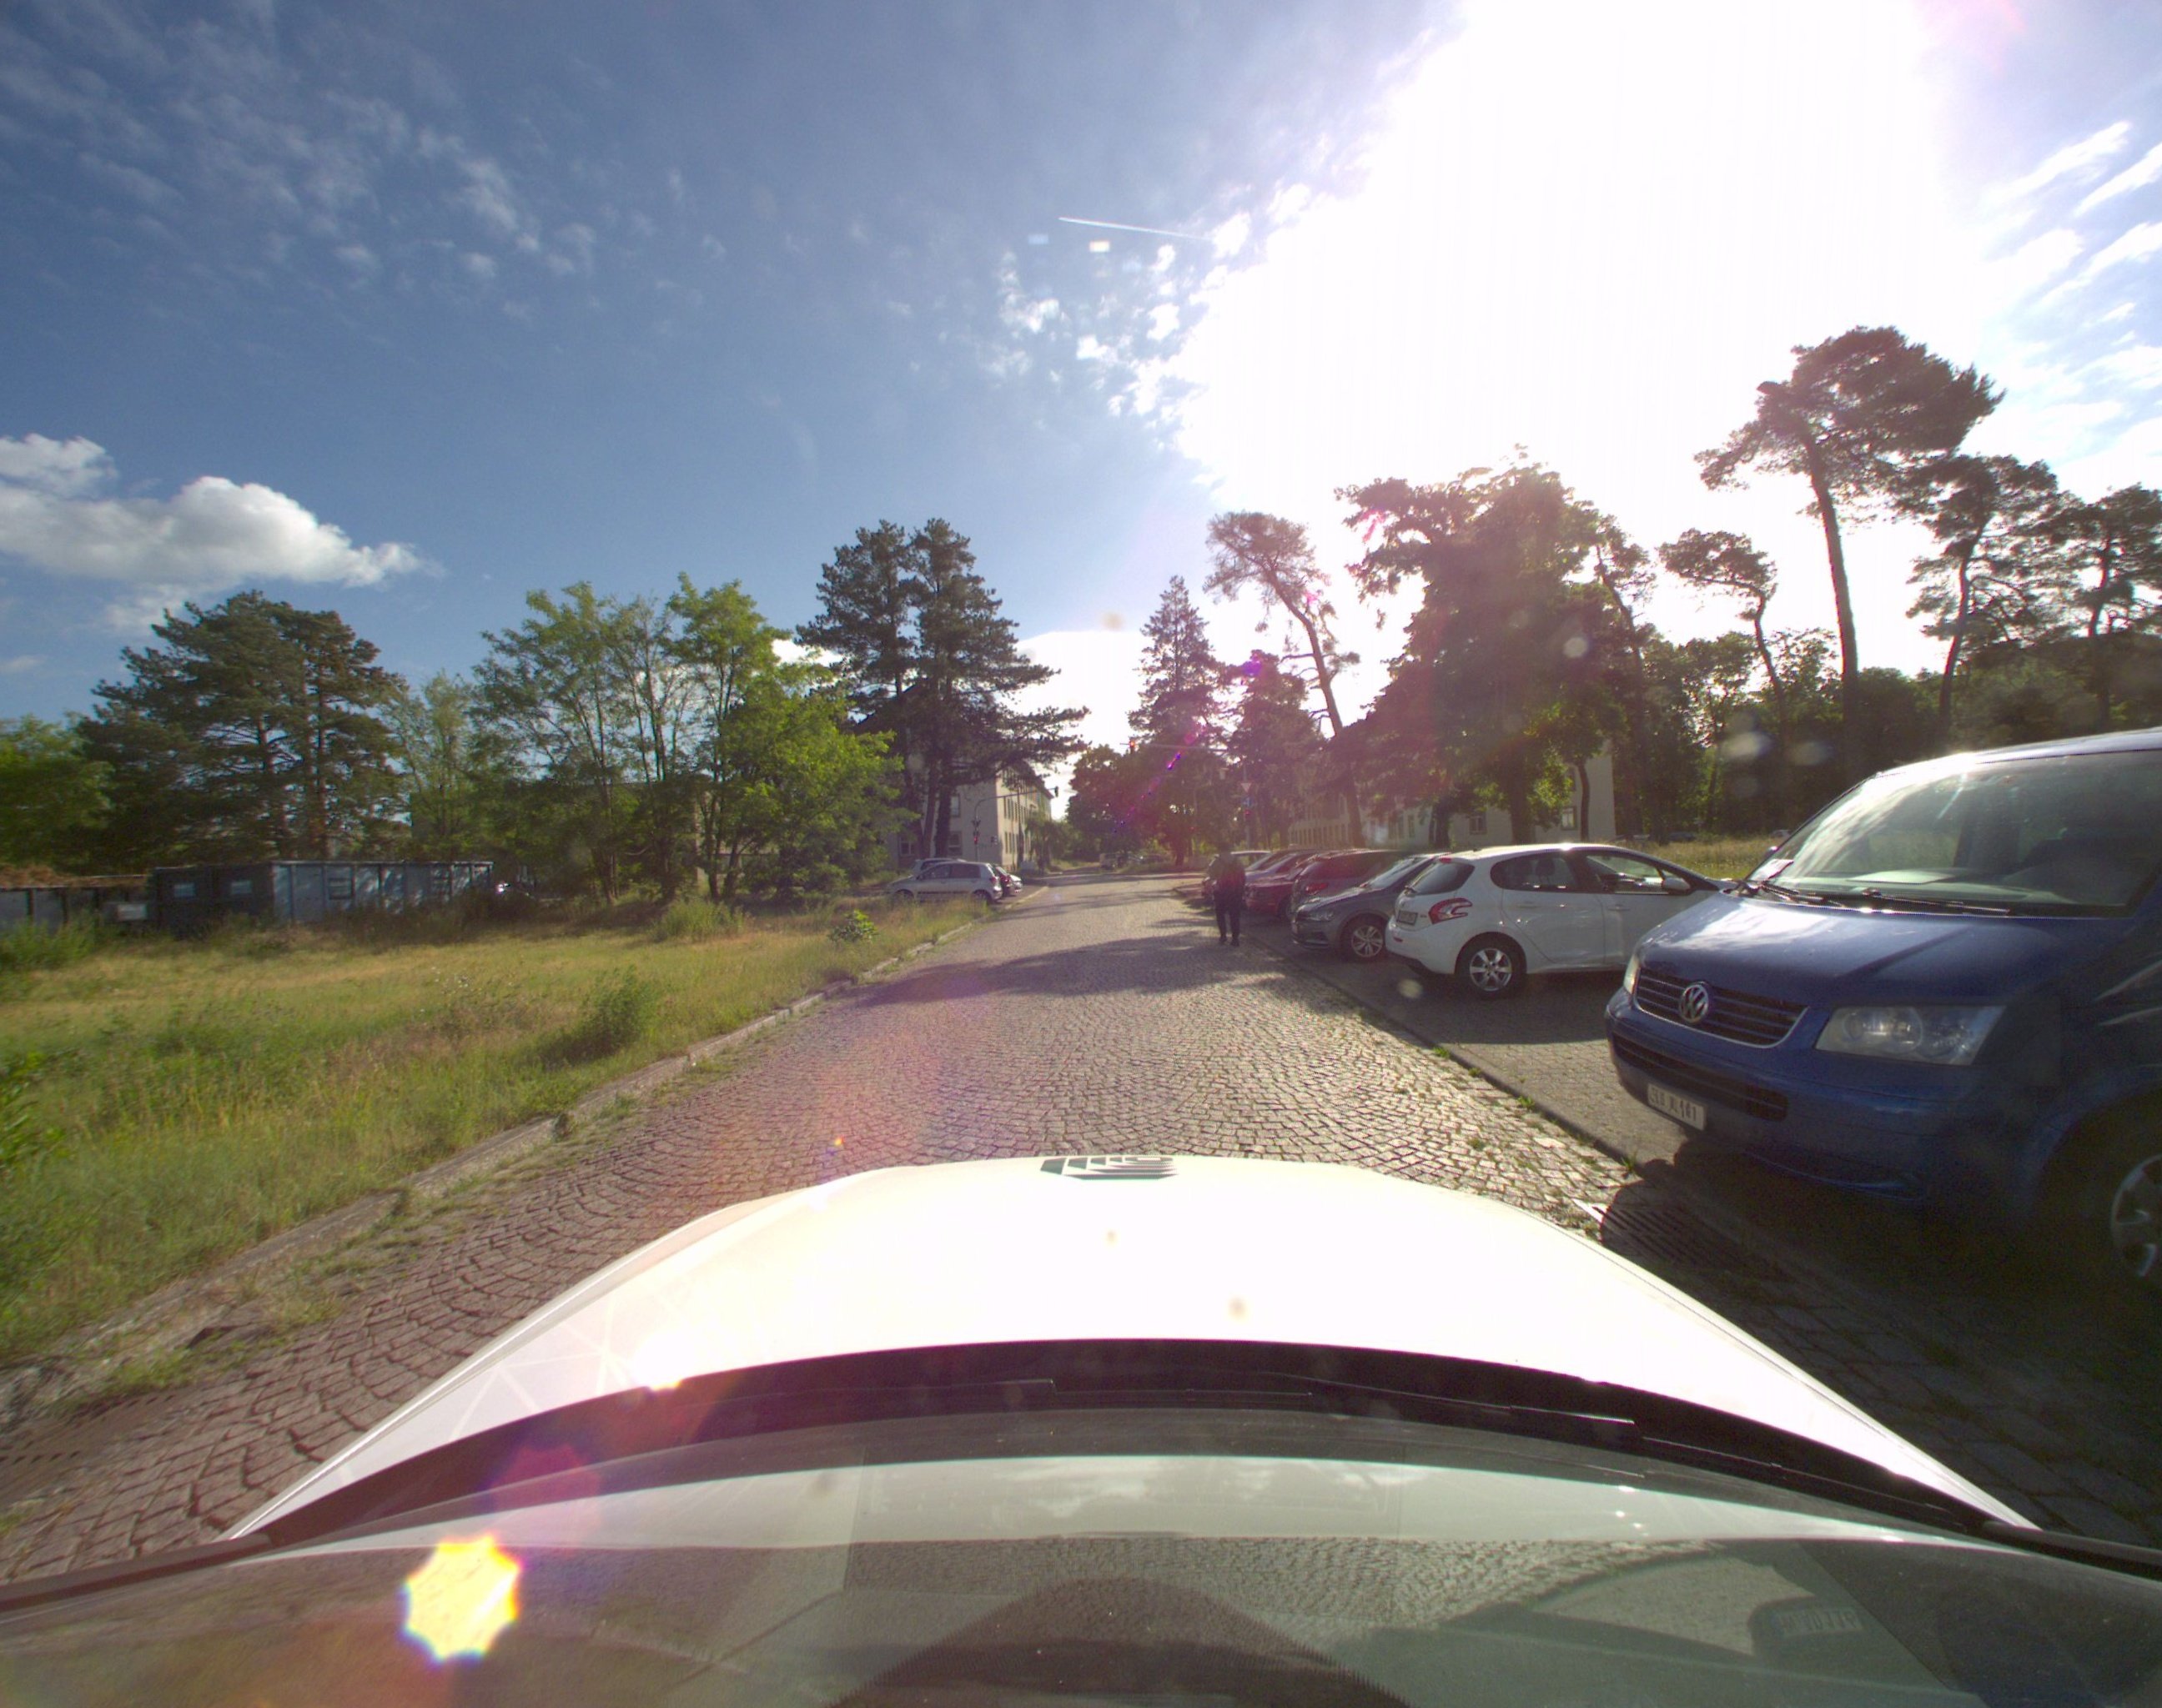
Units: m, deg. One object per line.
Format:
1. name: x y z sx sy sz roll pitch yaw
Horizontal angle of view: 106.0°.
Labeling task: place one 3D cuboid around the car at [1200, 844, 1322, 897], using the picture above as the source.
1. car: 5.921 0.531 27.146 3.659 1.443 1.666 -4 0 2

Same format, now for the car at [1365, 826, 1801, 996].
1. car: 5.168 0.565 8.764 3.630 1.492 1.635 -3 0 2

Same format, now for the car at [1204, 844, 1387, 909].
1. car: 5.645 0.572 21.816 4.384 1.388 1.789 -4 0 0

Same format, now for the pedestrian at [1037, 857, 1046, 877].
1. pedestrian: -3.427 1.121 70.794 0.604 1.752 0.630 -2 0 1

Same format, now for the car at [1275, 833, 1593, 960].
1. car: 4.883 0.568 11.707 3.765 1.450 1.759 -4 0 3

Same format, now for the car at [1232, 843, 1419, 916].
1. car: 5.771 0.594 19.545 3.965 1.448 1.656 -3 0 1

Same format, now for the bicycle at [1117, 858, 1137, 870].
1. bicycle: 4.295 0.925 76.175 1.829 1.112 0.495 -3 0 -2

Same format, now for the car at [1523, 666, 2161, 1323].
1. car: 4.883 0.305 3.525 4.736 2.013 2.001 -4 0 2

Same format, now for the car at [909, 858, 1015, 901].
1. car: -4.611 0.958 31.831 3.866 1.615 1.661 0 0 0

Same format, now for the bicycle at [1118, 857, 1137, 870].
1. bicycle: 4.384 0.924 76.718 1.722 1.112 0.484 -3 0 -2

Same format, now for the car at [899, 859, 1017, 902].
1. car: -4.370 0.937 29.245 3.924 1.445 1.691 1 0 0

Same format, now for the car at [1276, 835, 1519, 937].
1. car: 5.526 0.545 14.563 3.649 1.455 1.667 -4 0 2

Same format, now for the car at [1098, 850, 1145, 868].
1. car: 4.696 0.585 94.082 5.063 1.918 1.995 -2 0 -8

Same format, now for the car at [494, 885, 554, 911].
1. car: -44.883 3.506 65.739 1.856 1.778 4.008 -3 0 5

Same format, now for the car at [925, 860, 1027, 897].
1. car: -4.404 1.022 34.578 3.966 1.496 1.776 0 0 6

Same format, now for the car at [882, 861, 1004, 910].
1. car: -4.438 0.998 26.580 3.674 1.527 1.699 0 0 -1

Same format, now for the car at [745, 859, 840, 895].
1. car: -14.881 1.166 42.179 4.127 1.608 2.011 -3 0 3

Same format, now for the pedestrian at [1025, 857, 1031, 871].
1. pedestrian: -5.905 1.146 90.534 0.606 1.560 0.544 -2 0 -5

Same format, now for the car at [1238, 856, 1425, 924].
1. car: 5.186 0.734 17.168 3.447 1.242 1.537 -2 0 2

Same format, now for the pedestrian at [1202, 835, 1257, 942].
1. pedestrian: 2.502 0.565 13.795 0.750 1.725 0.829 2 0 2

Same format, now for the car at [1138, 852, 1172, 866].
1. car: 8.857 0.598 97.895 3.738 1.580 1.738 -2 0 -6

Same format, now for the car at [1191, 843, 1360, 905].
1. car: 5.820 0.576 24.723 4.605 1.455 1.869 -5 0 -1

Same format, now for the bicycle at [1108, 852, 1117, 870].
1. bicycle: 2.791 0.646 72.756 0.750 1.580 2.537 -2 0 2

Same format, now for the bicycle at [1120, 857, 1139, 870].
1. bicycle: 4.643 0.880 77.393 1.722 1.164 0.561 -3 0 -2
